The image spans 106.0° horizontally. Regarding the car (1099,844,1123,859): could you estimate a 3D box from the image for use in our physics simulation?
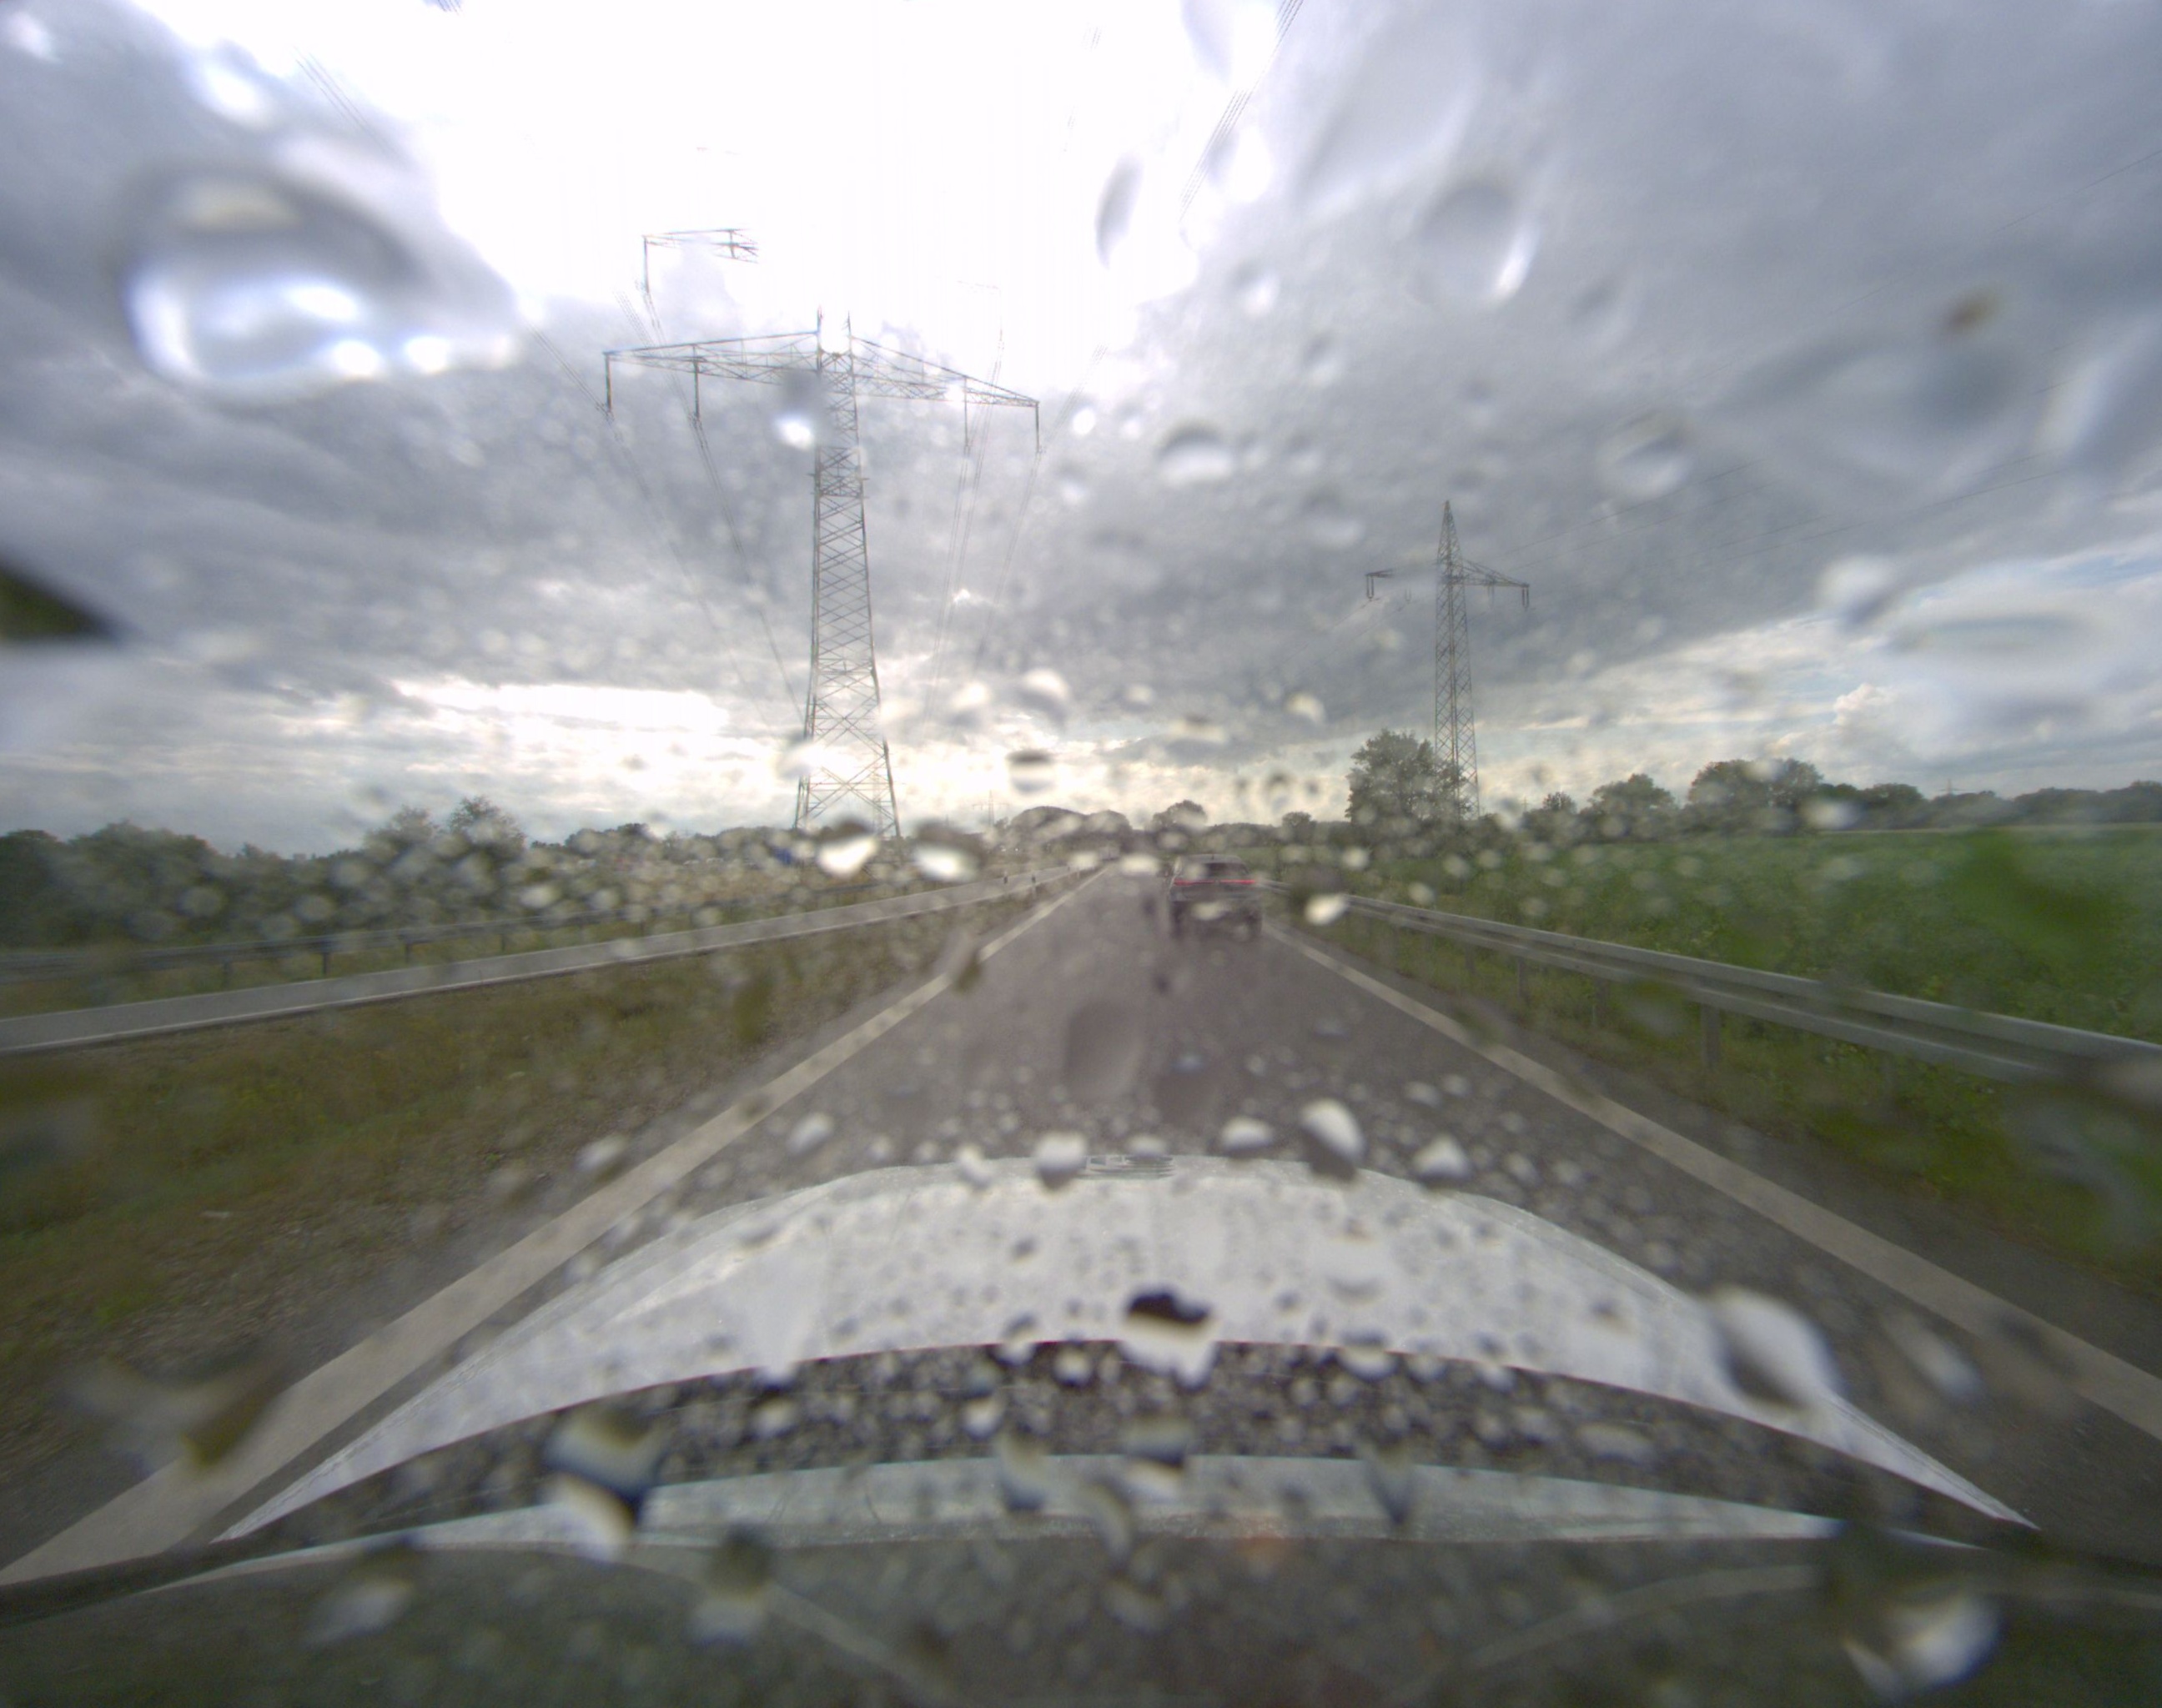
[{"bbox_3d":[6.508,-0.537,178.032,3.141,2.951,7.173,-2,2,-15],"label":"car"}]

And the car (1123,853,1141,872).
[{"bbox_3d":[6.936,1.174,110.974,2.341,2.306,5.133,-2,2,3],"label":"car"}]

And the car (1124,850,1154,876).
[{"bbox_3d":[4.796,0.709,68.448,2.114,2.018,5.535,-2,0,1],"label":"car"}]

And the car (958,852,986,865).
[{"bbox_3d":[-31.255,1.377,232.938,3.413,3.610,8.936,-2,0,-42],"label":"car"}]

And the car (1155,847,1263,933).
[{"bbox_3d":[2.585,0.648,17.220,1.984,1.566,4.156,0,1,6],"label":"car"}]
